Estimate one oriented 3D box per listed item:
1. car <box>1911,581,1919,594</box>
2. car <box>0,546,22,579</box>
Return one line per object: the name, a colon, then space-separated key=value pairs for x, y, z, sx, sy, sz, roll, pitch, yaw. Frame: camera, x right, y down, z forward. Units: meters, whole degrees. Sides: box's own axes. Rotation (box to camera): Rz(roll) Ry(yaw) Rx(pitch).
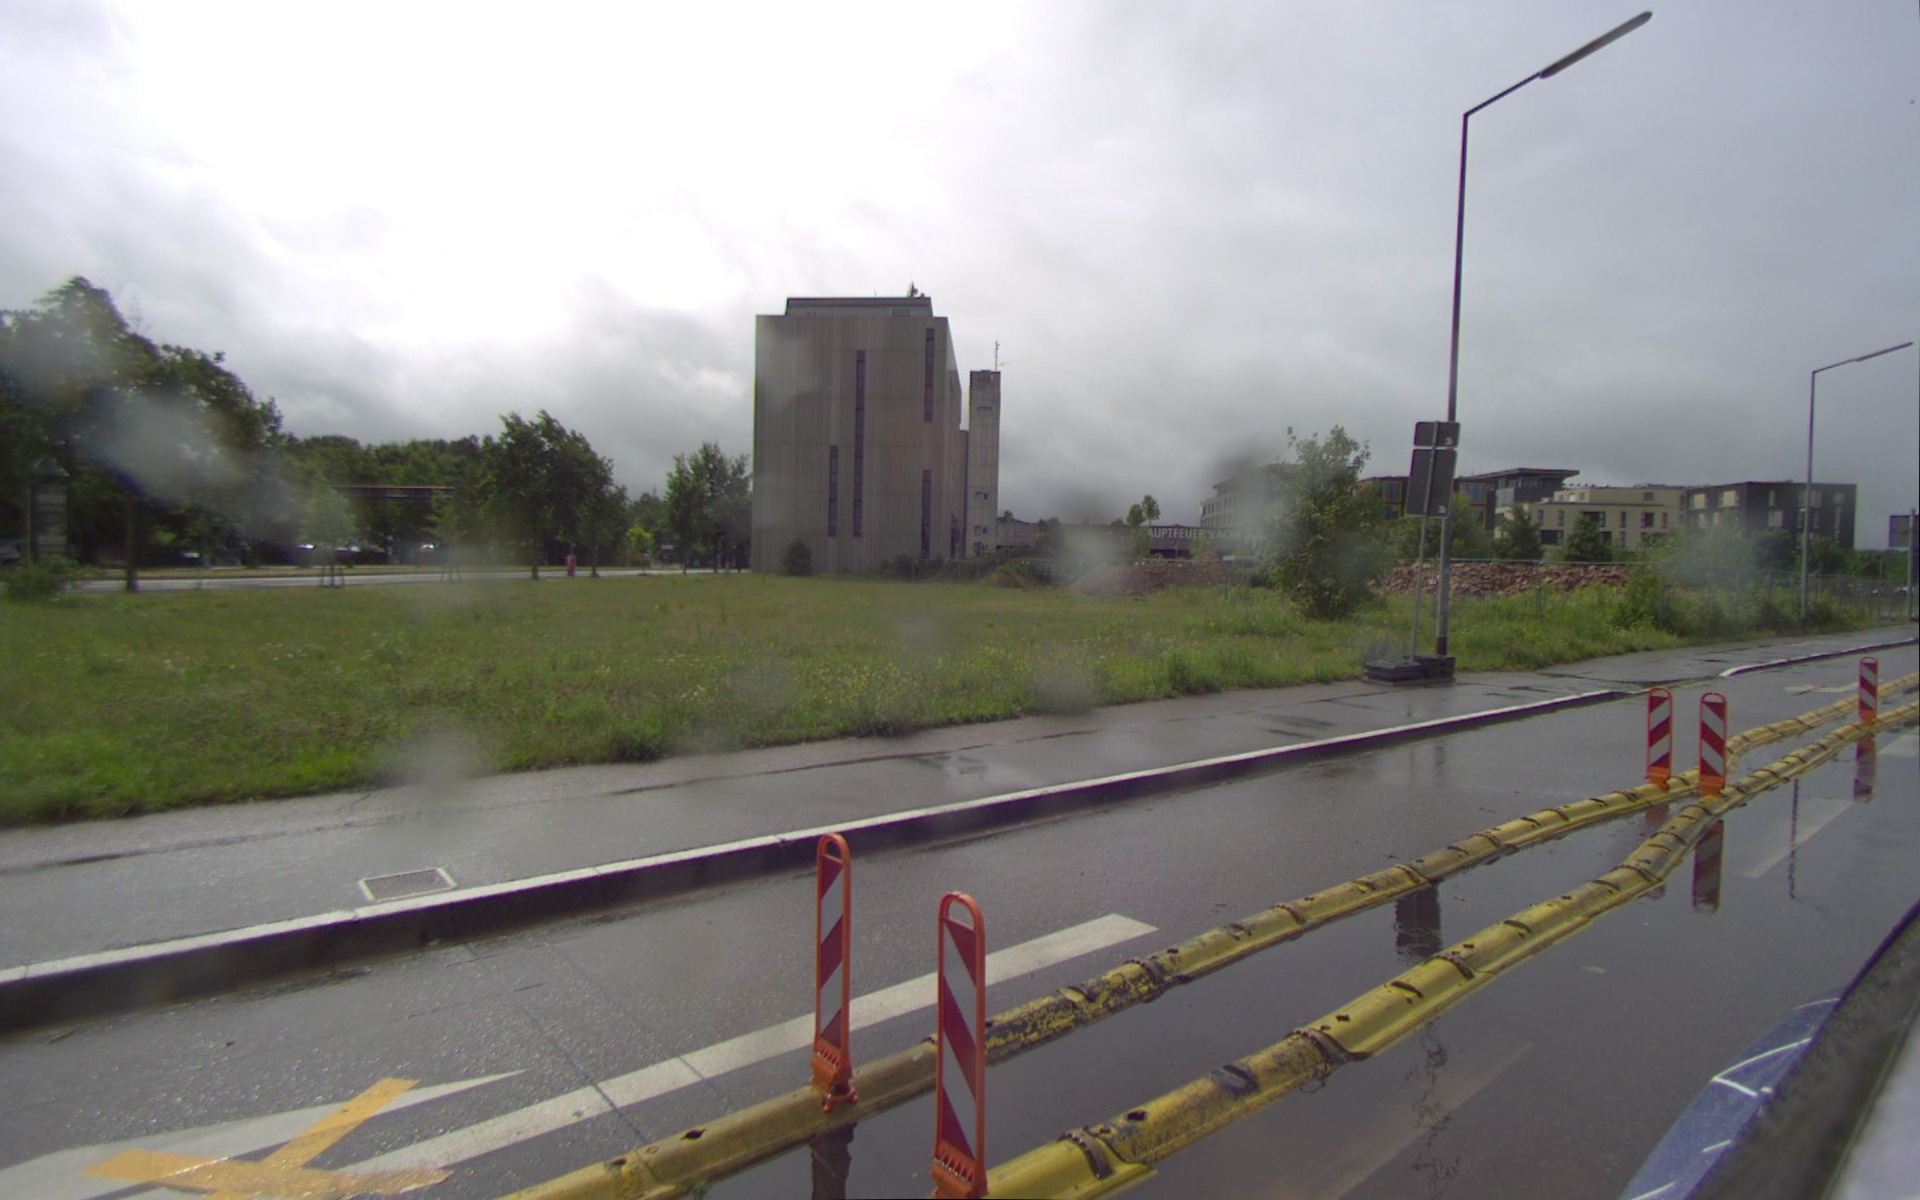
car: x=149.751 y=-1.842 z=156.125 sx=3.931 sy=2.039 sz=1.997 roll=1 pitch=1 yaw=6
car: x=-46.550 y=-1.800 z=47.599 sx=1.515 sy=1.578 sz=3.521 roll=1 pitch=2 yaw=4
